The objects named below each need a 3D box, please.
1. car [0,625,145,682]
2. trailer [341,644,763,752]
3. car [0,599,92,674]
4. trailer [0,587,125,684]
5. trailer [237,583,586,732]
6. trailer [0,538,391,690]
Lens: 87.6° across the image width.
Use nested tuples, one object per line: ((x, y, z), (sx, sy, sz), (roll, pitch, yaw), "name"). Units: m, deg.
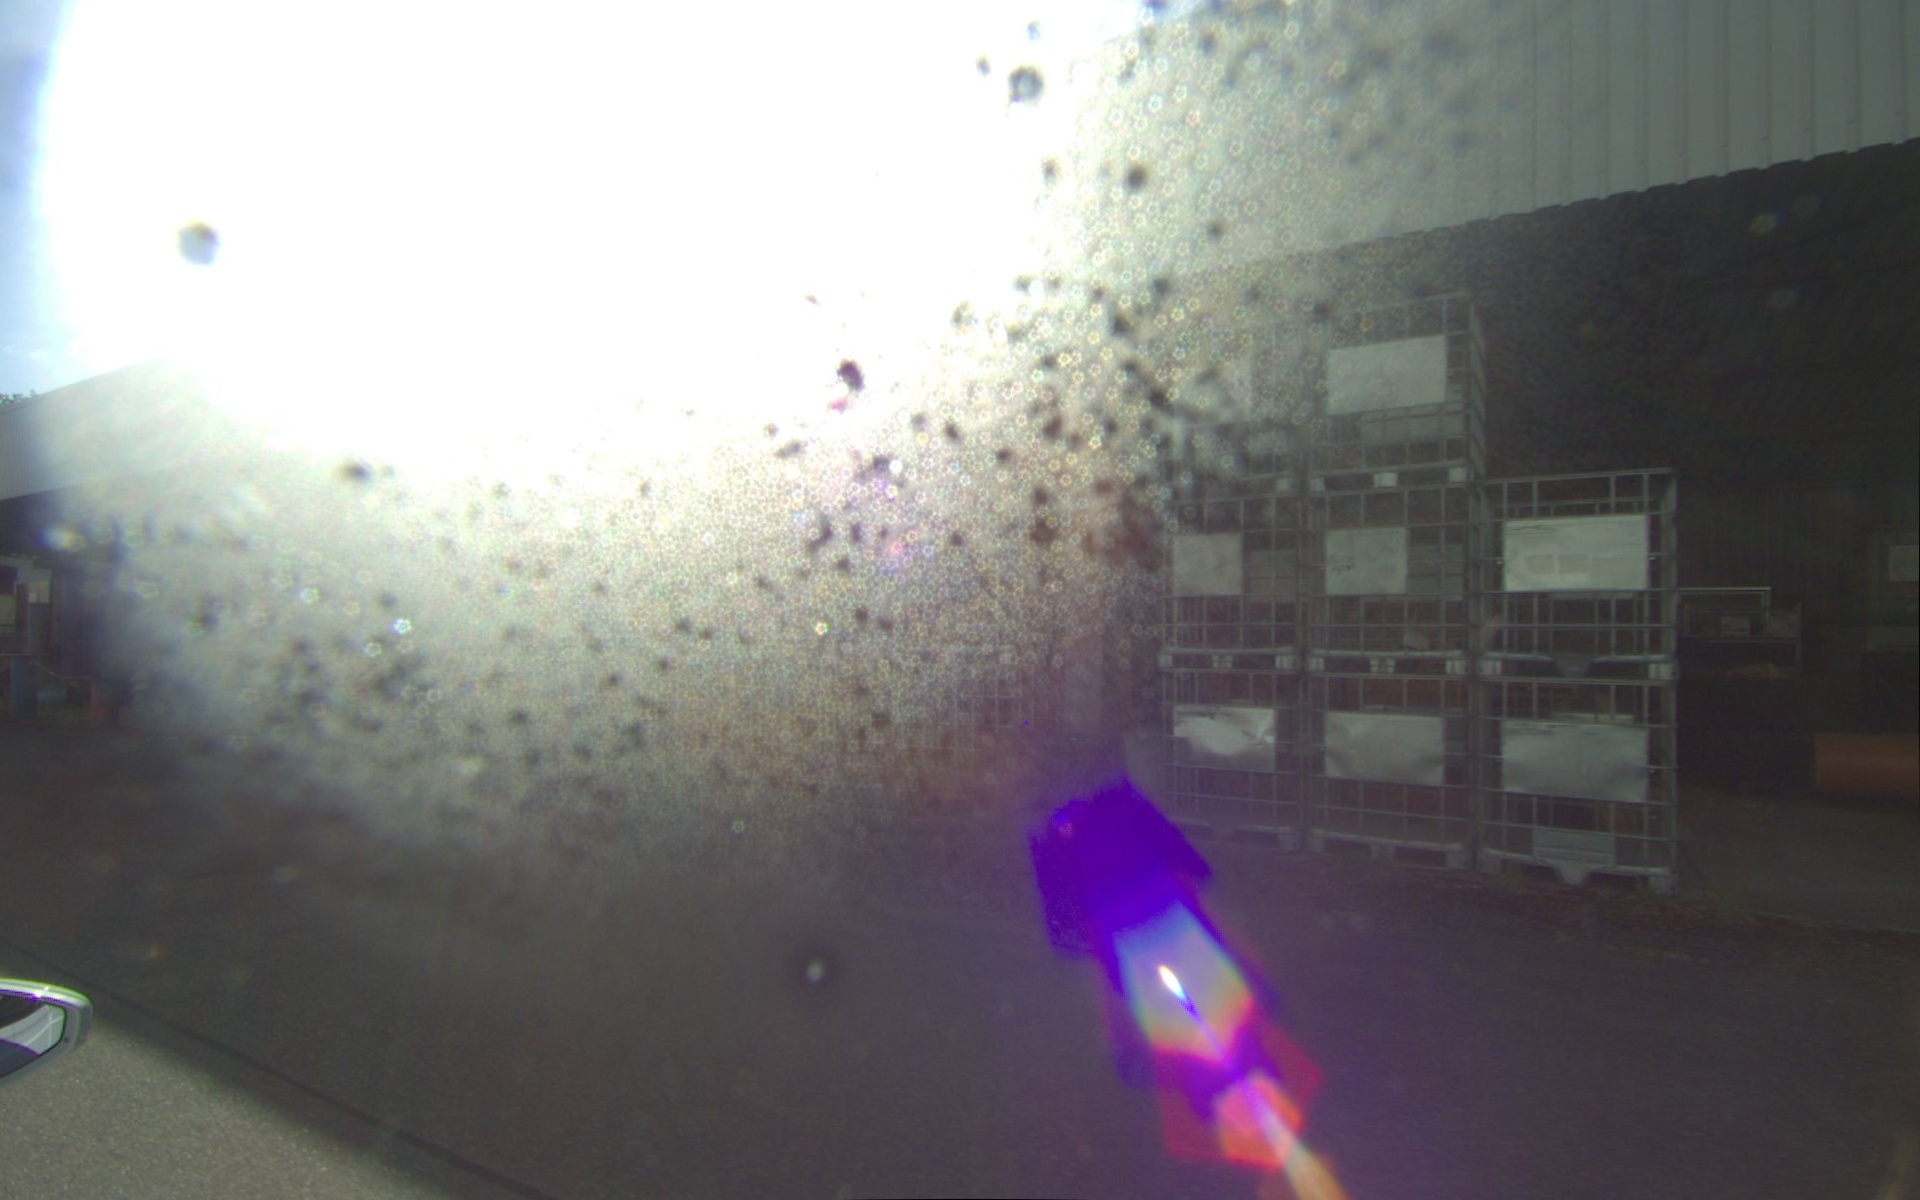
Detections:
((-25.503, 1.450, 27.674), (1.841, 1.490, 4.247), (0, -3, 28), "car")
((-5.522, 1.265, 14.586), (1.945, 1.200, 5.722), (-1, -2, 30), "trailer")
((-30.679, 1.122, 30.998), (2.121, 2.309, 5.327), (-1, -3, 30), "car")
((-24.120, 0.893, 25.095), (2.018, 2.372, 4.509), (-1, -2, 32), "trailer")
((-8.527, 0.866, 15.977), (2.133, 2.015, 4.415), (-1, -2, 33), "trailer")
((-20.695, 0.439, 26.006), (2.760, 3.385, 10.253), (0, -2, 32), "trailer")
